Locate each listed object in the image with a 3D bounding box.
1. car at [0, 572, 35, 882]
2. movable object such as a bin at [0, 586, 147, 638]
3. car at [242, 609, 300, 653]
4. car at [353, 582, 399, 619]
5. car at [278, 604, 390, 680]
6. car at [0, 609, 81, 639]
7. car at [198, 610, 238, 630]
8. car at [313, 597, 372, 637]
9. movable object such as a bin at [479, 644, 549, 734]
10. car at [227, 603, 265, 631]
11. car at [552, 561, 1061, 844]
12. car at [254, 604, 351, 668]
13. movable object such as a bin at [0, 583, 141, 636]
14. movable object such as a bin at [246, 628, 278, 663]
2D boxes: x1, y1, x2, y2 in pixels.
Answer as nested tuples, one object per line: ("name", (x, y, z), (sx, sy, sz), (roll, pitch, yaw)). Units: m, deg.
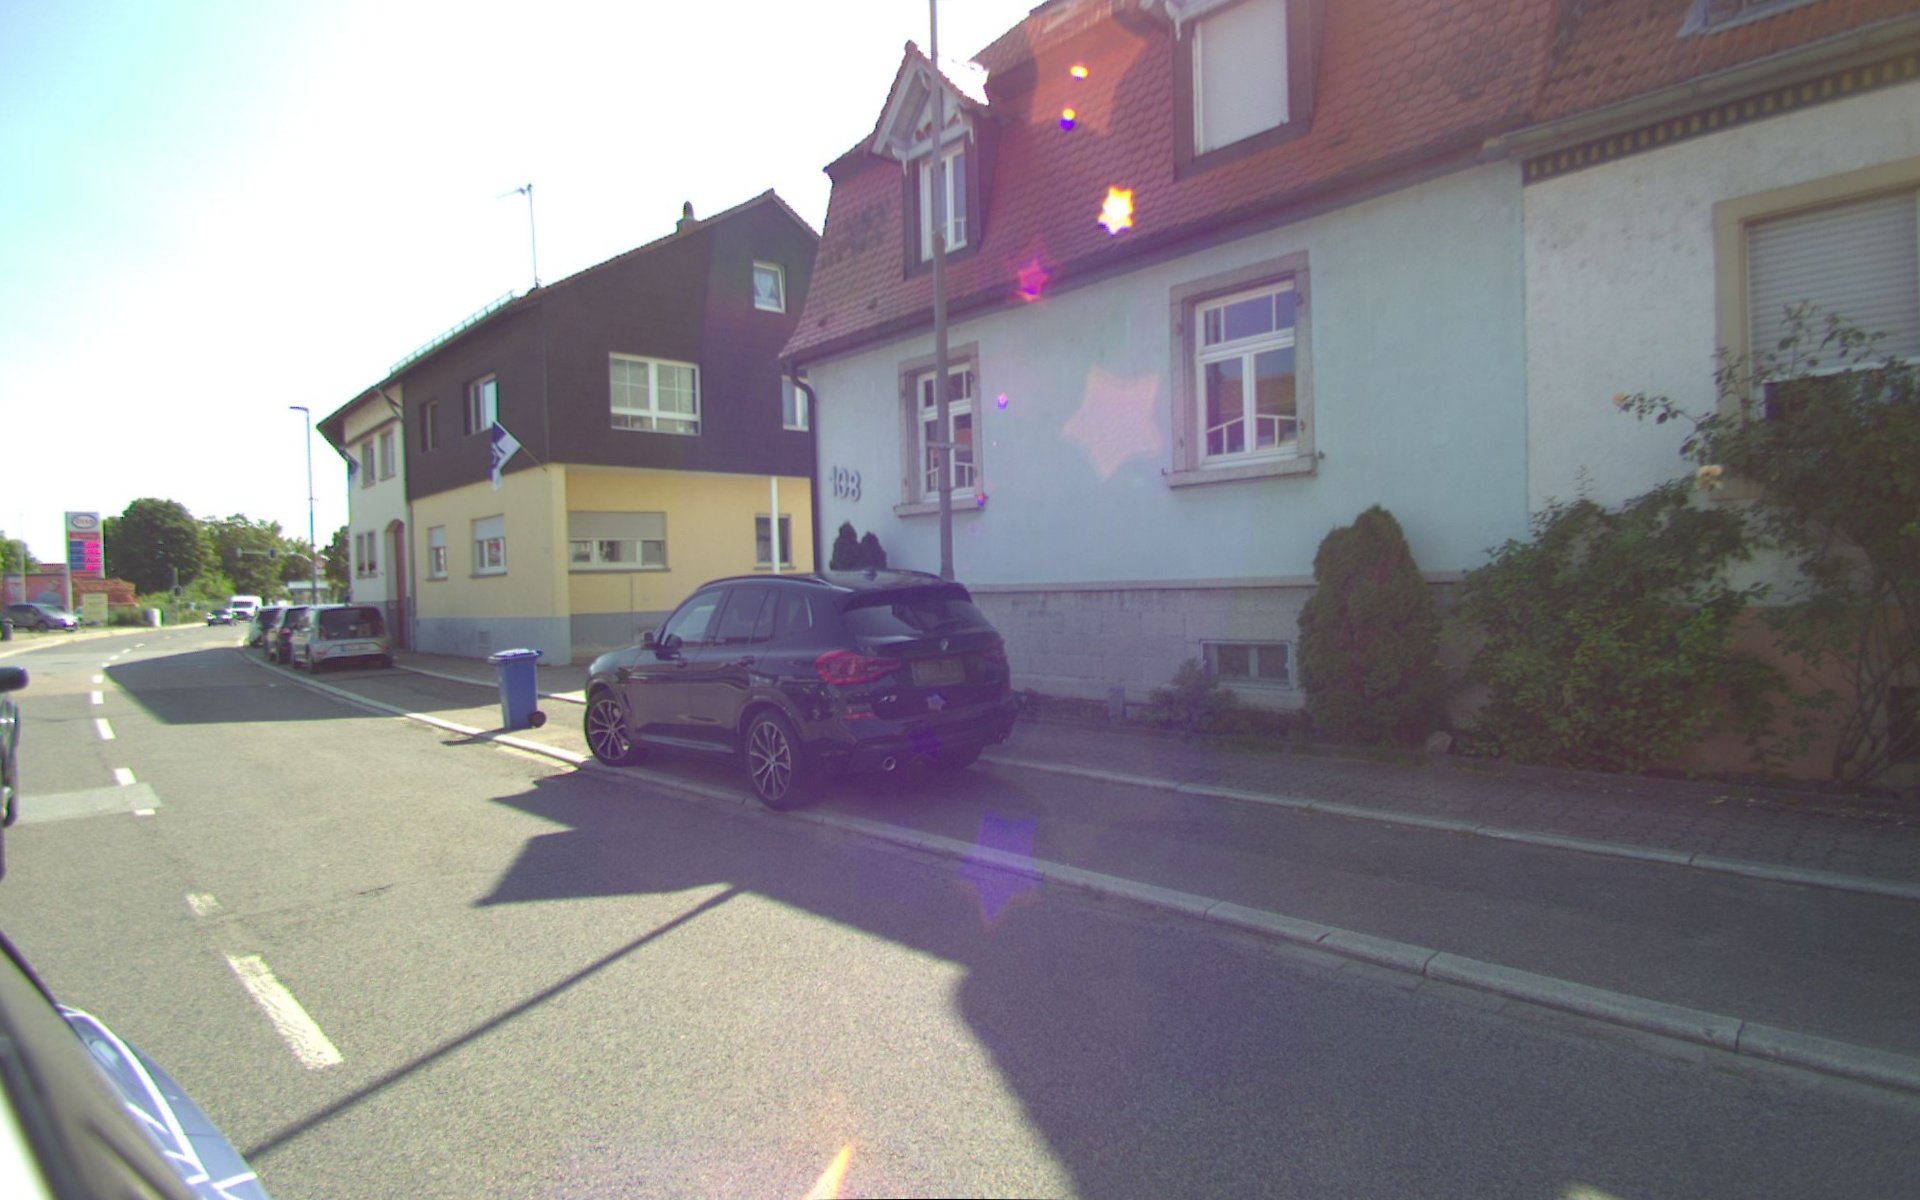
("car", (-6.791, 0.738, 5.944), (1.821, 1.709, 4.405), (0, -1, -40))
("movable object such as a bin", (-77.515, 1.034, 85.784), (13.072, 4.197, 2.871), (-1, 0, -32))
("car", (-25.386, 1.100, 37.323), (1.661, 1.473, 3.659), (-2, 1, -34))
("car", (-36.650, 0.013, 63.468), (2.098, 2.000, 5.280), (-7, 4, -32))
("car", (-14.477, 0.894, 23.316), (1.620, 1.512, 3.788), (-4, 2, -40))
("car", (-52.166, 1.367, 56.979), (4.133, 1.567, 1.770), (-1, 0, 8))
("car", (-61.216, 1.627, 83.557), (1.815, 1.604, 4.119), (-1, 0, -25))
("car", (-30.990, 0.833, 50.915), (1.811, 1.806, 4.357), (-4, 2, -23))
("movable object such as a bin", (-5.373, 1.057, 12.186), (0.589, 0.989, 0.531), (-3, 1, -44))
("car", (-67.055, 1.590, 95.152), (1.906, 2.521, 5.857), (-1, 0, -25))
("car", (-1.561, 0.627, 8.593), (1.898, 1.680, 4.670), (-5, 3, -43))
("car", (-17.655, 0.906, 27.100), (1.658, 1.447, 4.003), (-6, 3, -39))
("movable object such as a bin", (-74.028, 0.779, 78.625), (15.832, 4.049, 2.782), (-1, 0, -32))
("movable object such as a bin", (-20.469, 1.327, 29.691), (0.826, 0.935, 0.545), (-2, 4, 45))
